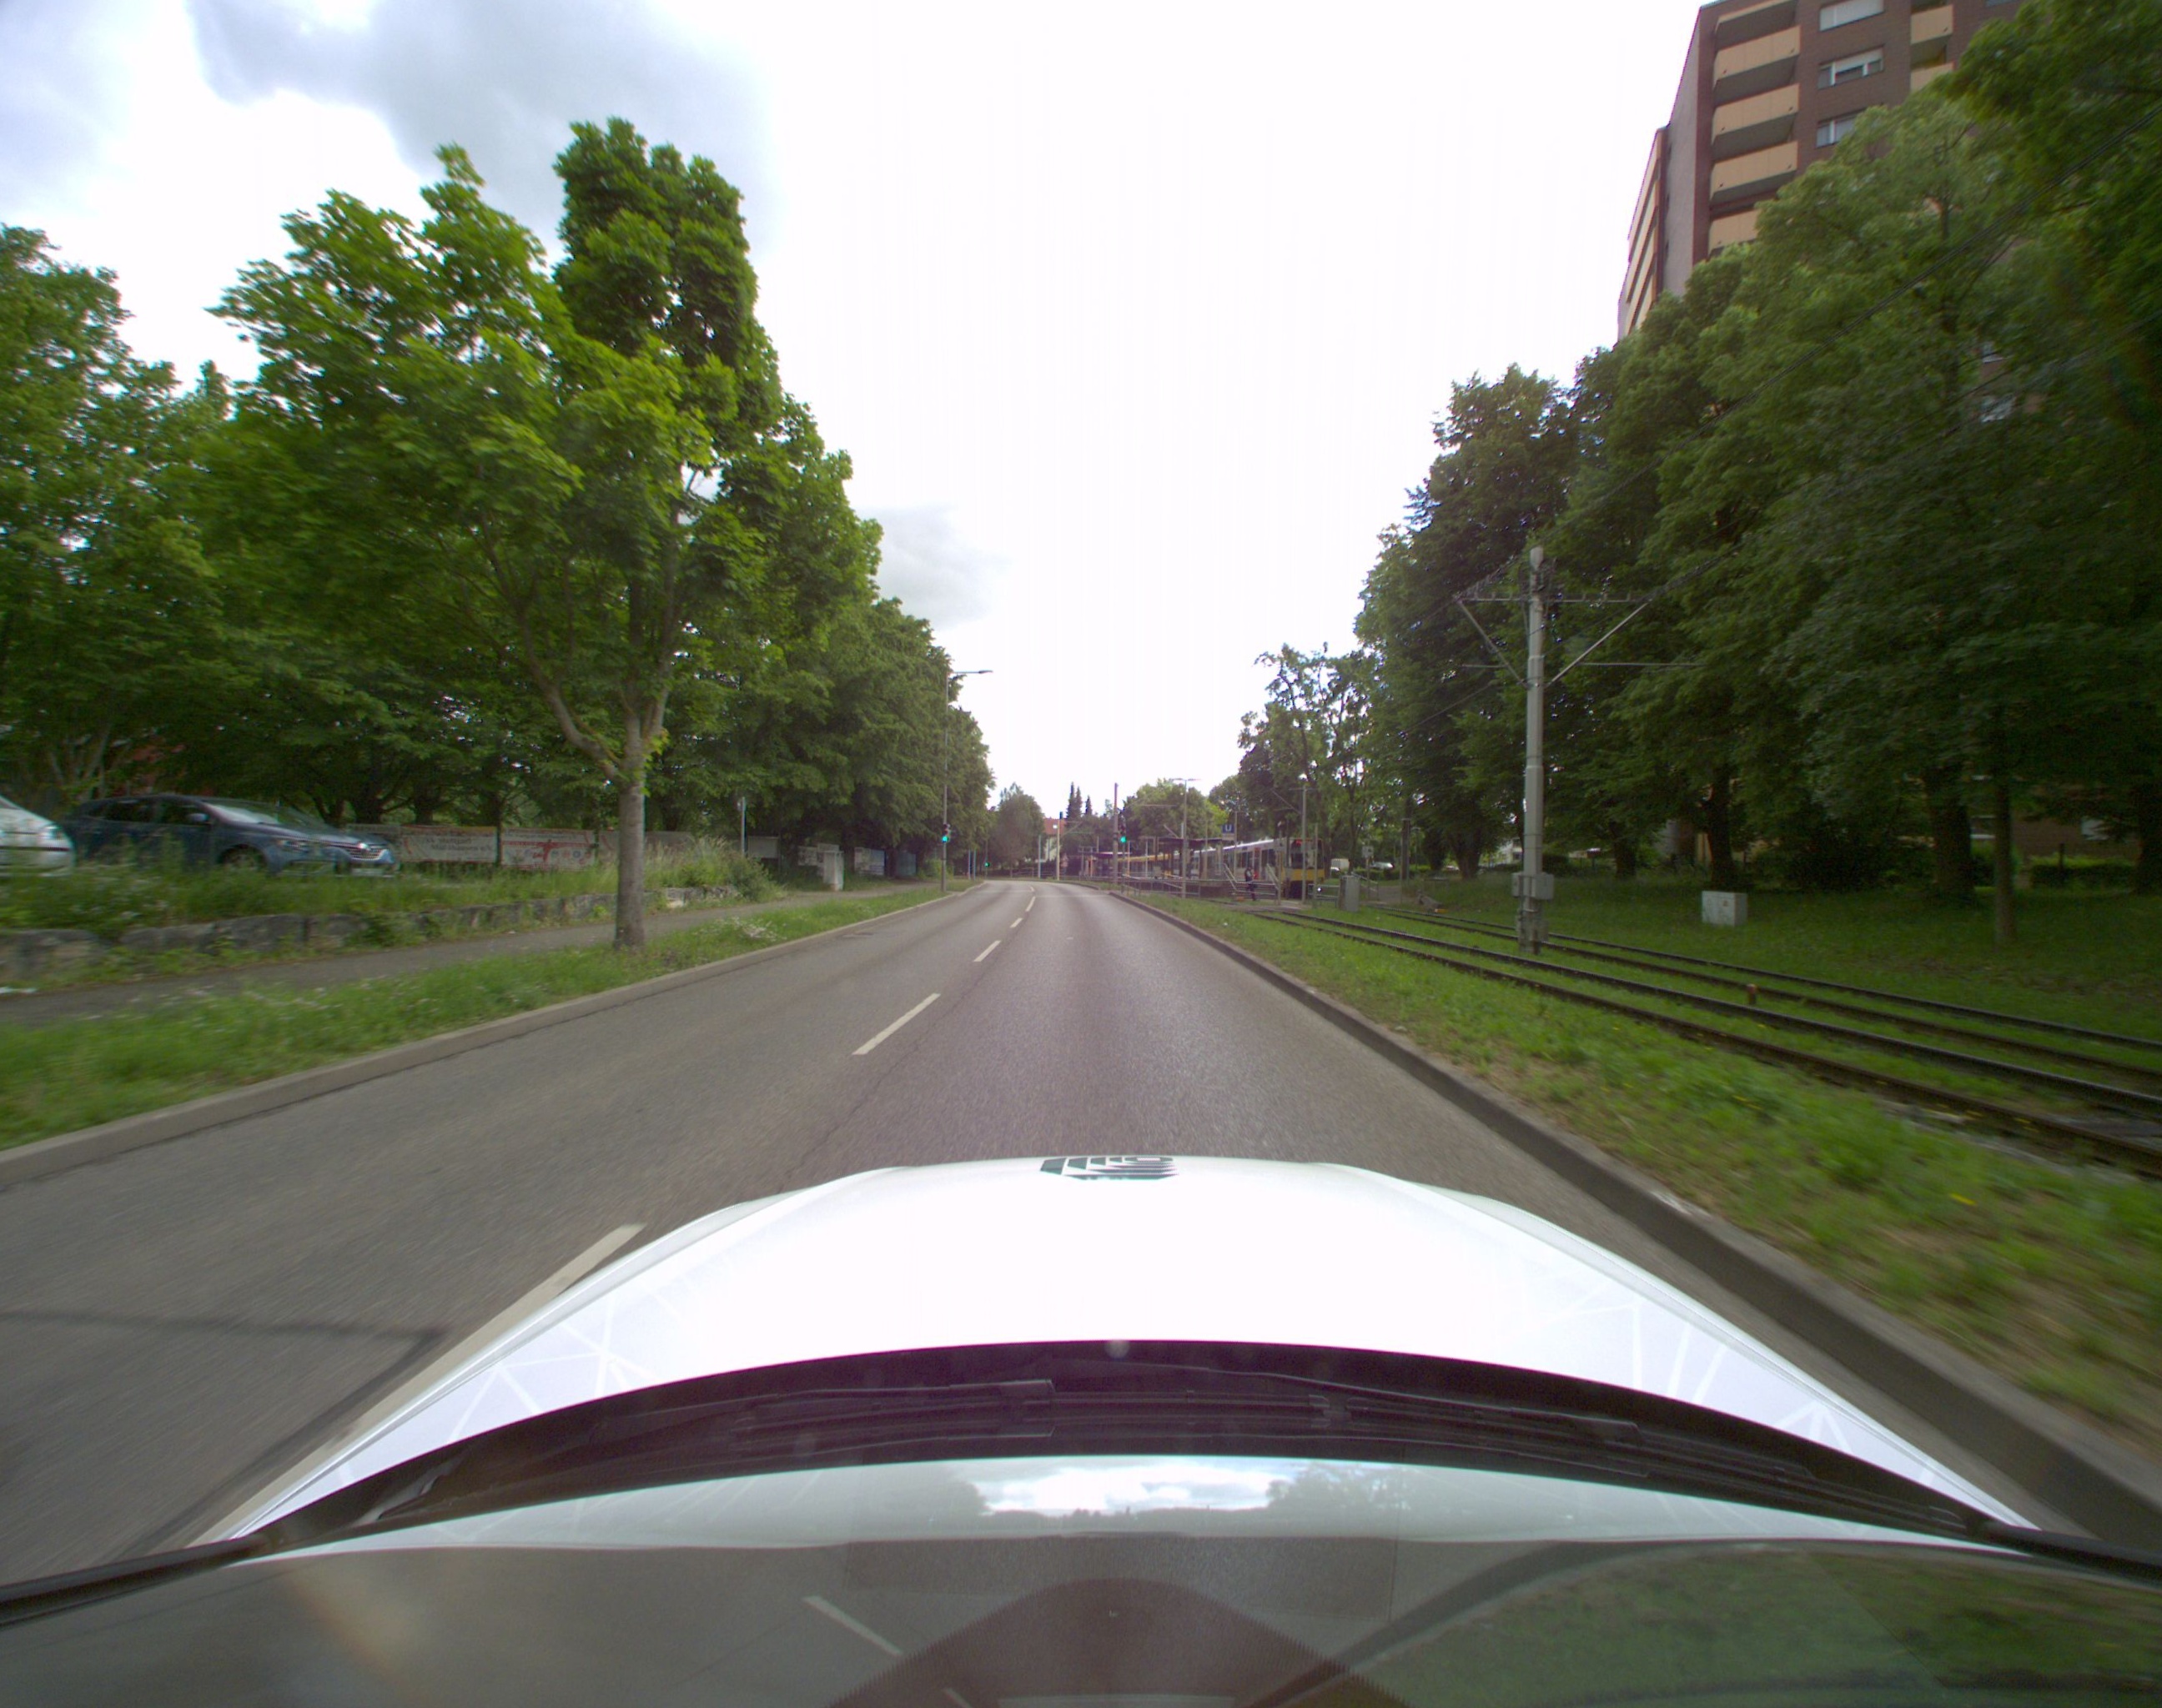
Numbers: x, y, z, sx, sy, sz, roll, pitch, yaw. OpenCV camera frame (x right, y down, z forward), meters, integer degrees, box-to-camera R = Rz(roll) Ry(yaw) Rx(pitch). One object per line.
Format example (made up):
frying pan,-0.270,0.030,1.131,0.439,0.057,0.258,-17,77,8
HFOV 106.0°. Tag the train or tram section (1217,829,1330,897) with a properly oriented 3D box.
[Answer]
train or tram section,12.381,0.742,55.122,2.806,3.737,18.516,2,-2,-1

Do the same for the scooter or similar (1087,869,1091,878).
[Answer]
scooter or similar,1.102,2.642,110.347,0.368,1.242,1.142,0,-2,-10

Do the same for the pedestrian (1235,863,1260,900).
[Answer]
pedestrian,8.151,1.348,39.849,0.984,1.758,0.726,2,-1,-12

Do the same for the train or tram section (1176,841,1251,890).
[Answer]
train or tram section,11.604,1.185,73.914,2.806,3.799,18.911,2,-2,-2

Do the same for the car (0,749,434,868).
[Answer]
car,-13.049,-0.643,12.289,5.133,1.561,1.888,1,0,4

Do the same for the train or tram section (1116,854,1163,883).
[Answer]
train or tram section,7.750,2.079,111.985,2.810,3.589,19.465,2,-2,-6

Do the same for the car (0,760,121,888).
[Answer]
car,-13.267,-0.365,8.692,4.358,1.316,1.564,1,0,4

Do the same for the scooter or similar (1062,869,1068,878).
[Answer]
scooter or similar,-2.387,2.885,120.042,0.431,1.253,1.246,0,-4,-18
